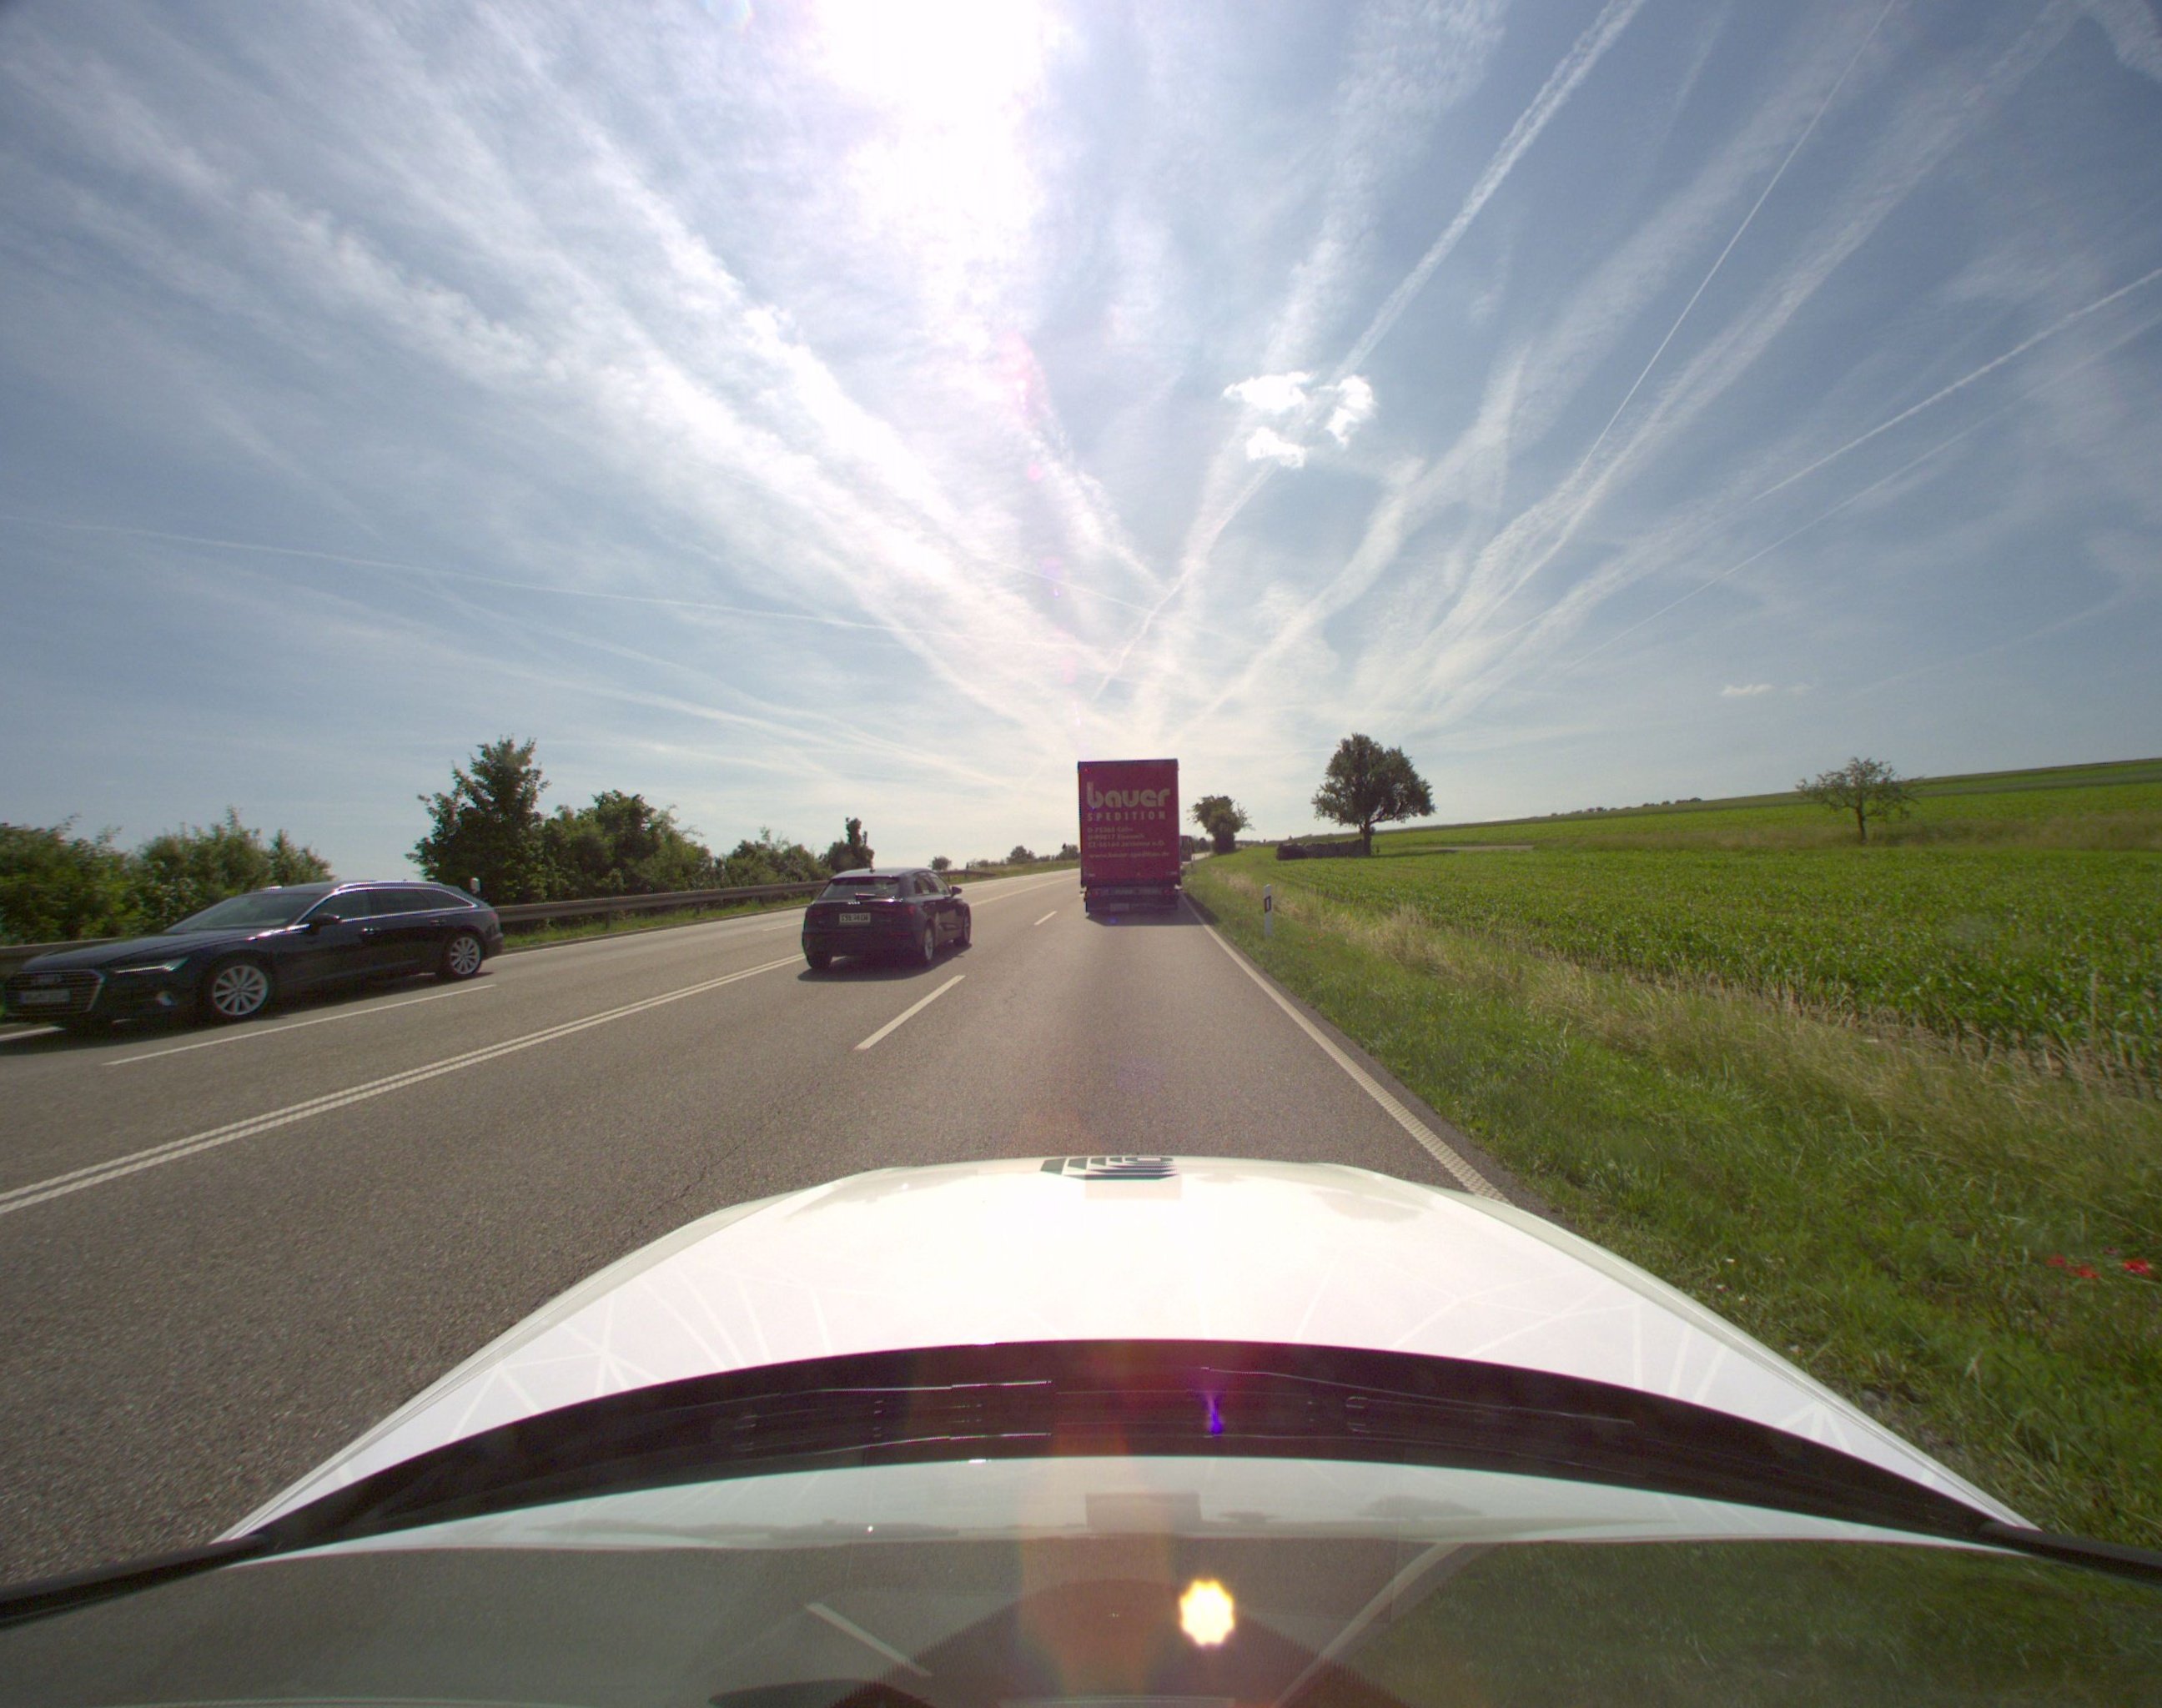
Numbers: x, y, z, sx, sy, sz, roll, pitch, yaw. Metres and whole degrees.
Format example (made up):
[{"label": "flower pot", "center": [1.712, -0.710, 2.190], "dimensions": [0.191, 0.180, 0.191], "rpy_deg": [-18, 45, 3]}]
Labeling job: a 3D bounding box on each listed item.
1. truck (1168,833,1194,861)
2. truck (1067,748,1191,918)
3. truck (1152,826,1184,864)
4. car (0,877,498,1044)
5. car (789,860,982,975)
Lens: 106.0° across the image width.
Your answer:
[{"label": "truck", "center": [15.785, -1.065, 127.616], "dimensions": [3.028, 3.910, 18.447], "rpy_deg": [-2, 0, 10]}, {"label": "truck", "center": [1.855, -0.501, 28.515], "dimensions": [2.993, 4.180, 16.734], "rpy_deg": [-1, 0, 5]}, {"label": "truck", "center": [10.217, -1.016, 94.219], "dimensions": [3.029, 3.910, 15.652], "rpy_deg": [-2, 0, 8]}, {"label": "car", "center": [-9.808, 1.108, 10.103], "dimensions": [1.829, 1.455, 4.329], "rpy_deg": [-3, 0, 2]}, {"label": "car", "center": [-2.916, 0.871, 13.339], "dimensions": [1.698, 1.472, 4.816], "rpy_deg": [-1, 0, 3]}]
